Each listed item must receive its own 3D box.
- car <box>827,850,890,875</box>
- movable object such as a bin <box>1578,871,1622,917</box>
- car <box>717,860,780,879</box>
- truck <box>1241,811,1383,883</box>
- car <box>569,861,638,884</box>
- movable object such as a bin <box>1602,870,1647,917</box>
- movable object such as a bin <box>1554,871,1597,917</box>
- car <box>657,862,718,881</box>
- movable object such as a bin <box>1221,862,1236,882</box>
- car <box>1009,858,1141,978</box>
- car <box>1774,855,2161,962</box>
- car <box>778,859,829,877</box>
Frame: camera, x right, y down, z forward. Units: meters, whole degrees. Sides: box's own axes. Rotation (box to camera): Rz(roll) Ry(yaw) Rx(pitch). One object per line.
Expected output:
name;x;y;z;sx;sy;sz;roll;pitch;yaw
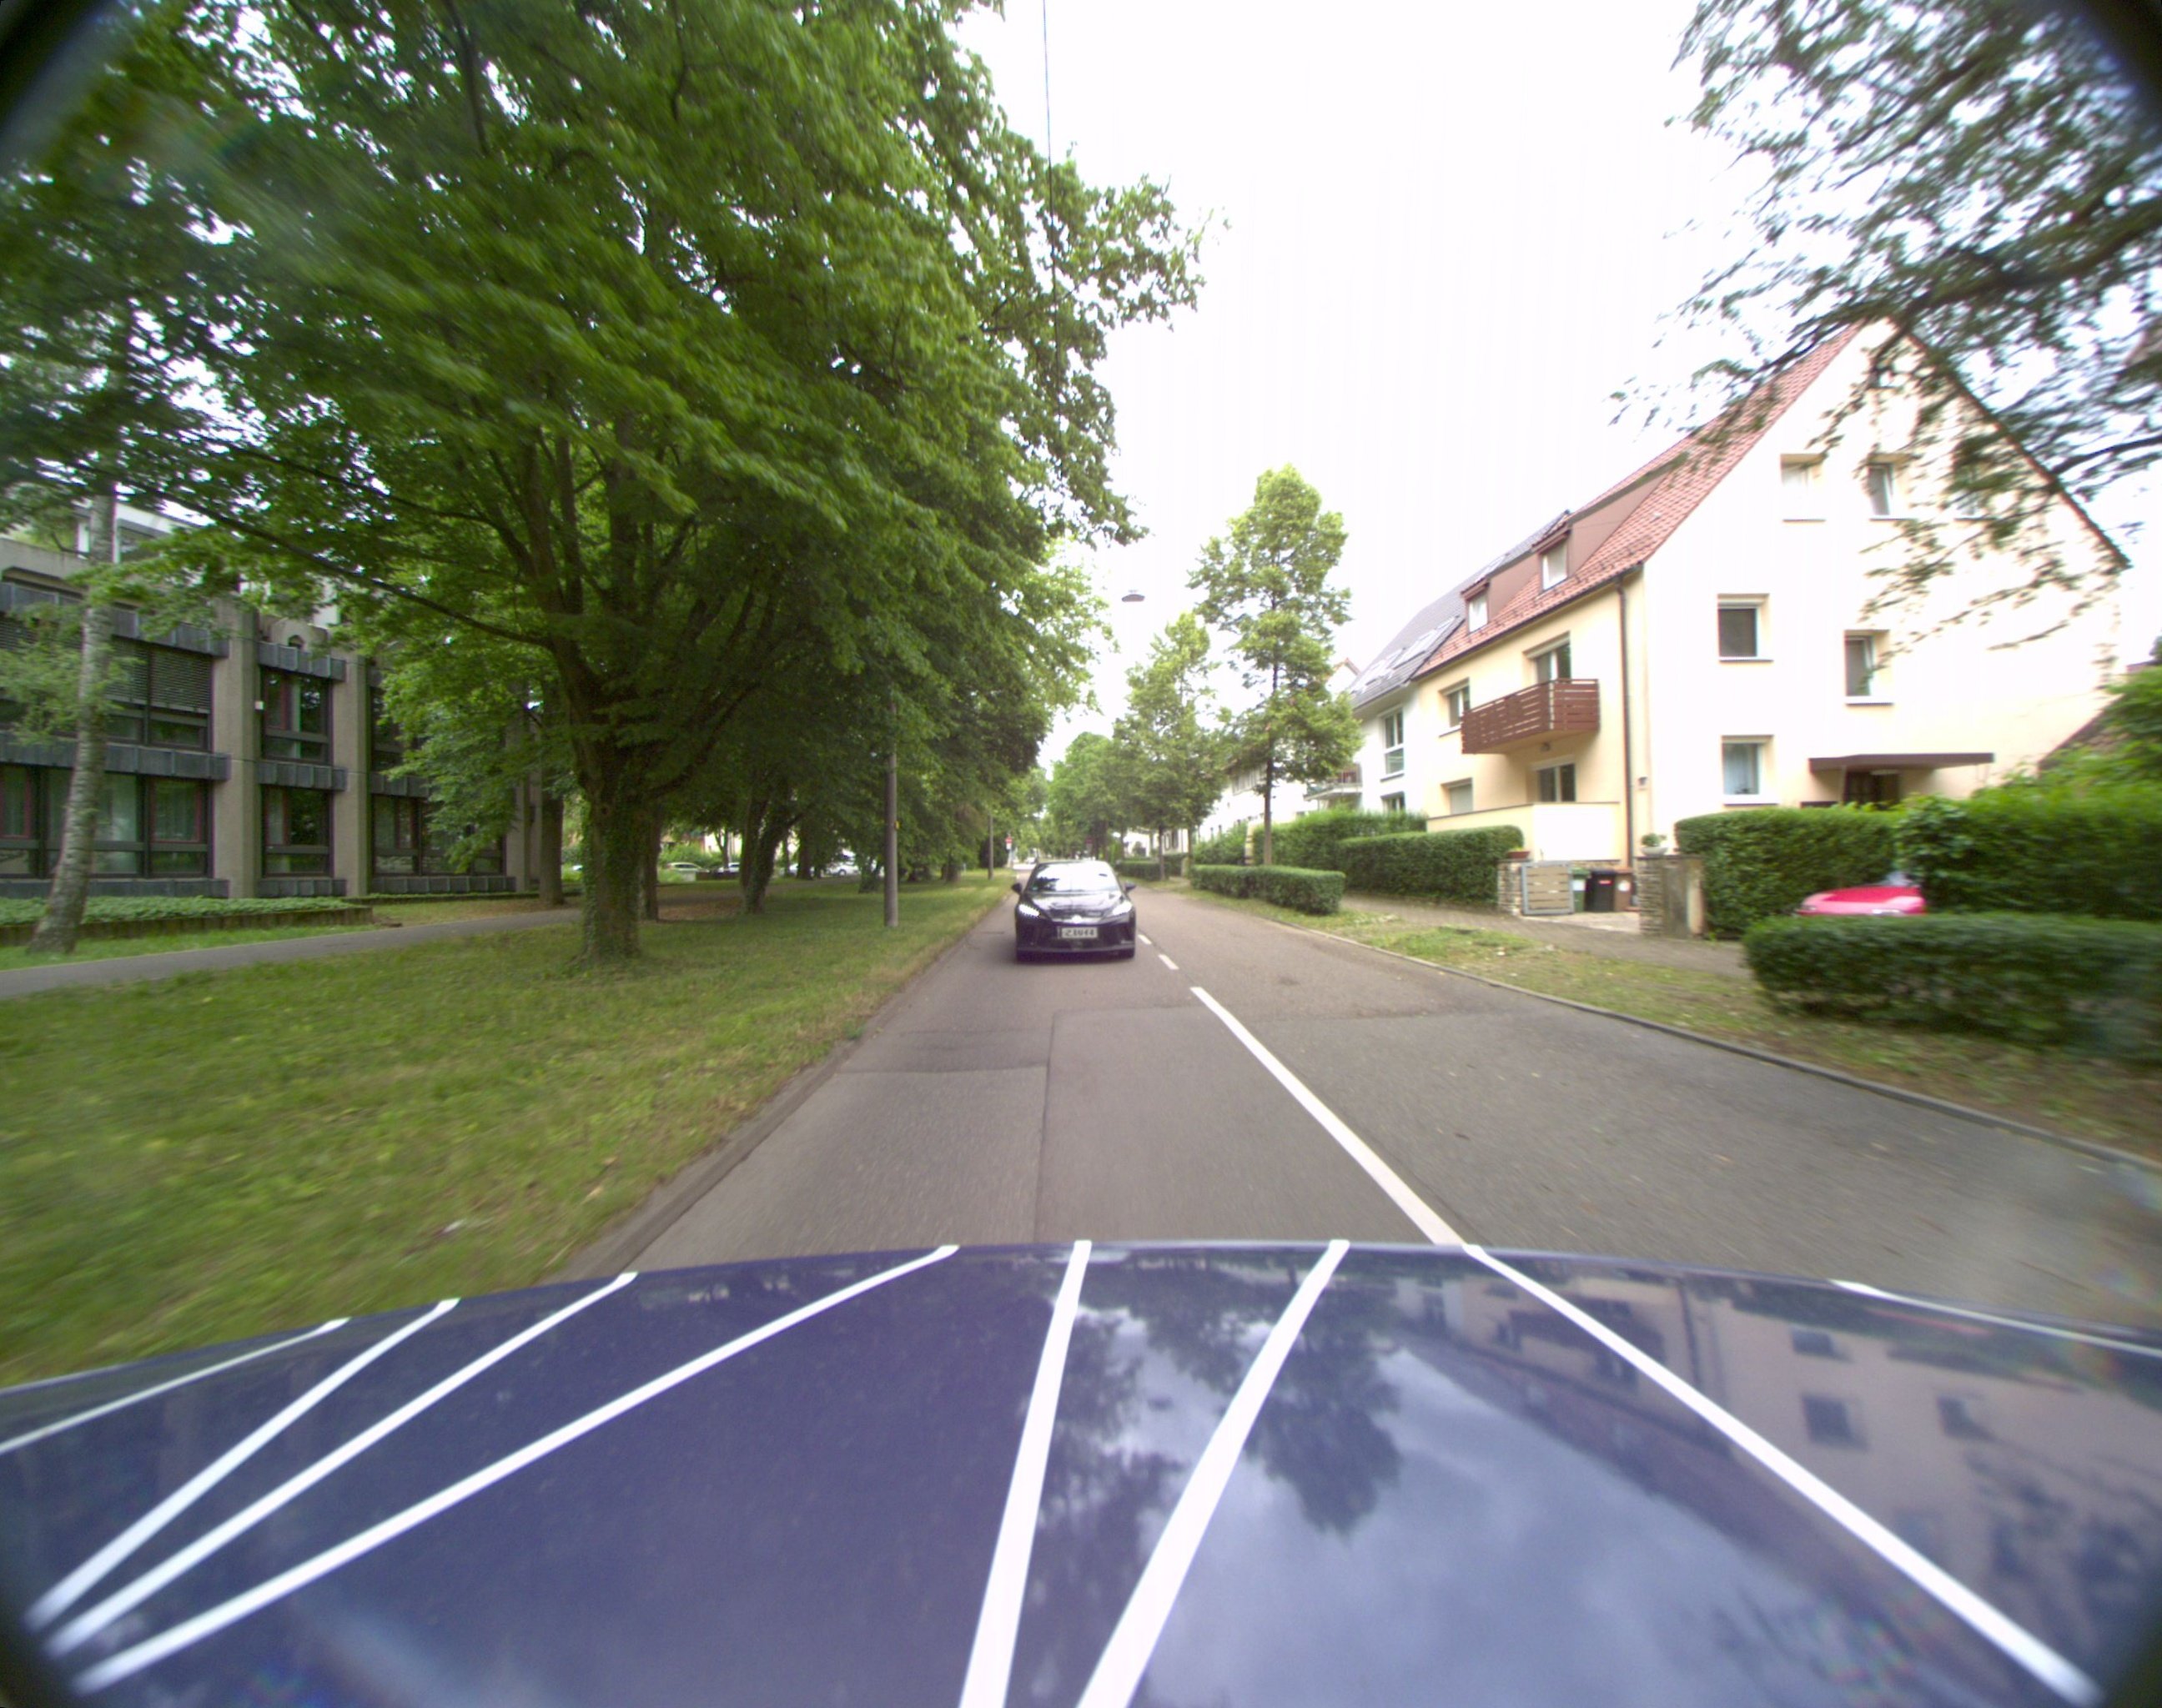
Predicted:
car;-21.415;0.811;73.287;5.336;2.285;2.287;-1;0;-37
movable object such as a bin;10.513;0.804;15.410;0.489;0.906;0.570;0;1;-5
car;-28.731;1.344;65.757;1.795;1.501;4.613;-2;0;41
truck;10.744;-0.332;35.659;5.813;3.113;2.517;-2;0;-4
car;-35.898;1.375;57.218;1.795;1.664;4.008;-1;0;39
movable object such as a bin;11.048;0.796;15.455;0.489;0.906;0.570;0;1;-5
movable object such as a bin;9.998;0.805;15.370;0.489;0.906;0.570;0;1;-5
car;-32.204;1.421;62.192;1.795;1.501;4.008;-2;0;39
movable object such as a bin;7.154;0.878;36.954;0.581;0.921;0.693;0;0;-1
car;-0.191;0.906;12.873;1.799;1.552;4.470;-2;0;-3
car;12.029;0.671;10.210;3.998;1.192;1.697;-1;1;-3
car;-25.407;1.279;69.578;4.008;1.501;1.795;-1;0;-43
